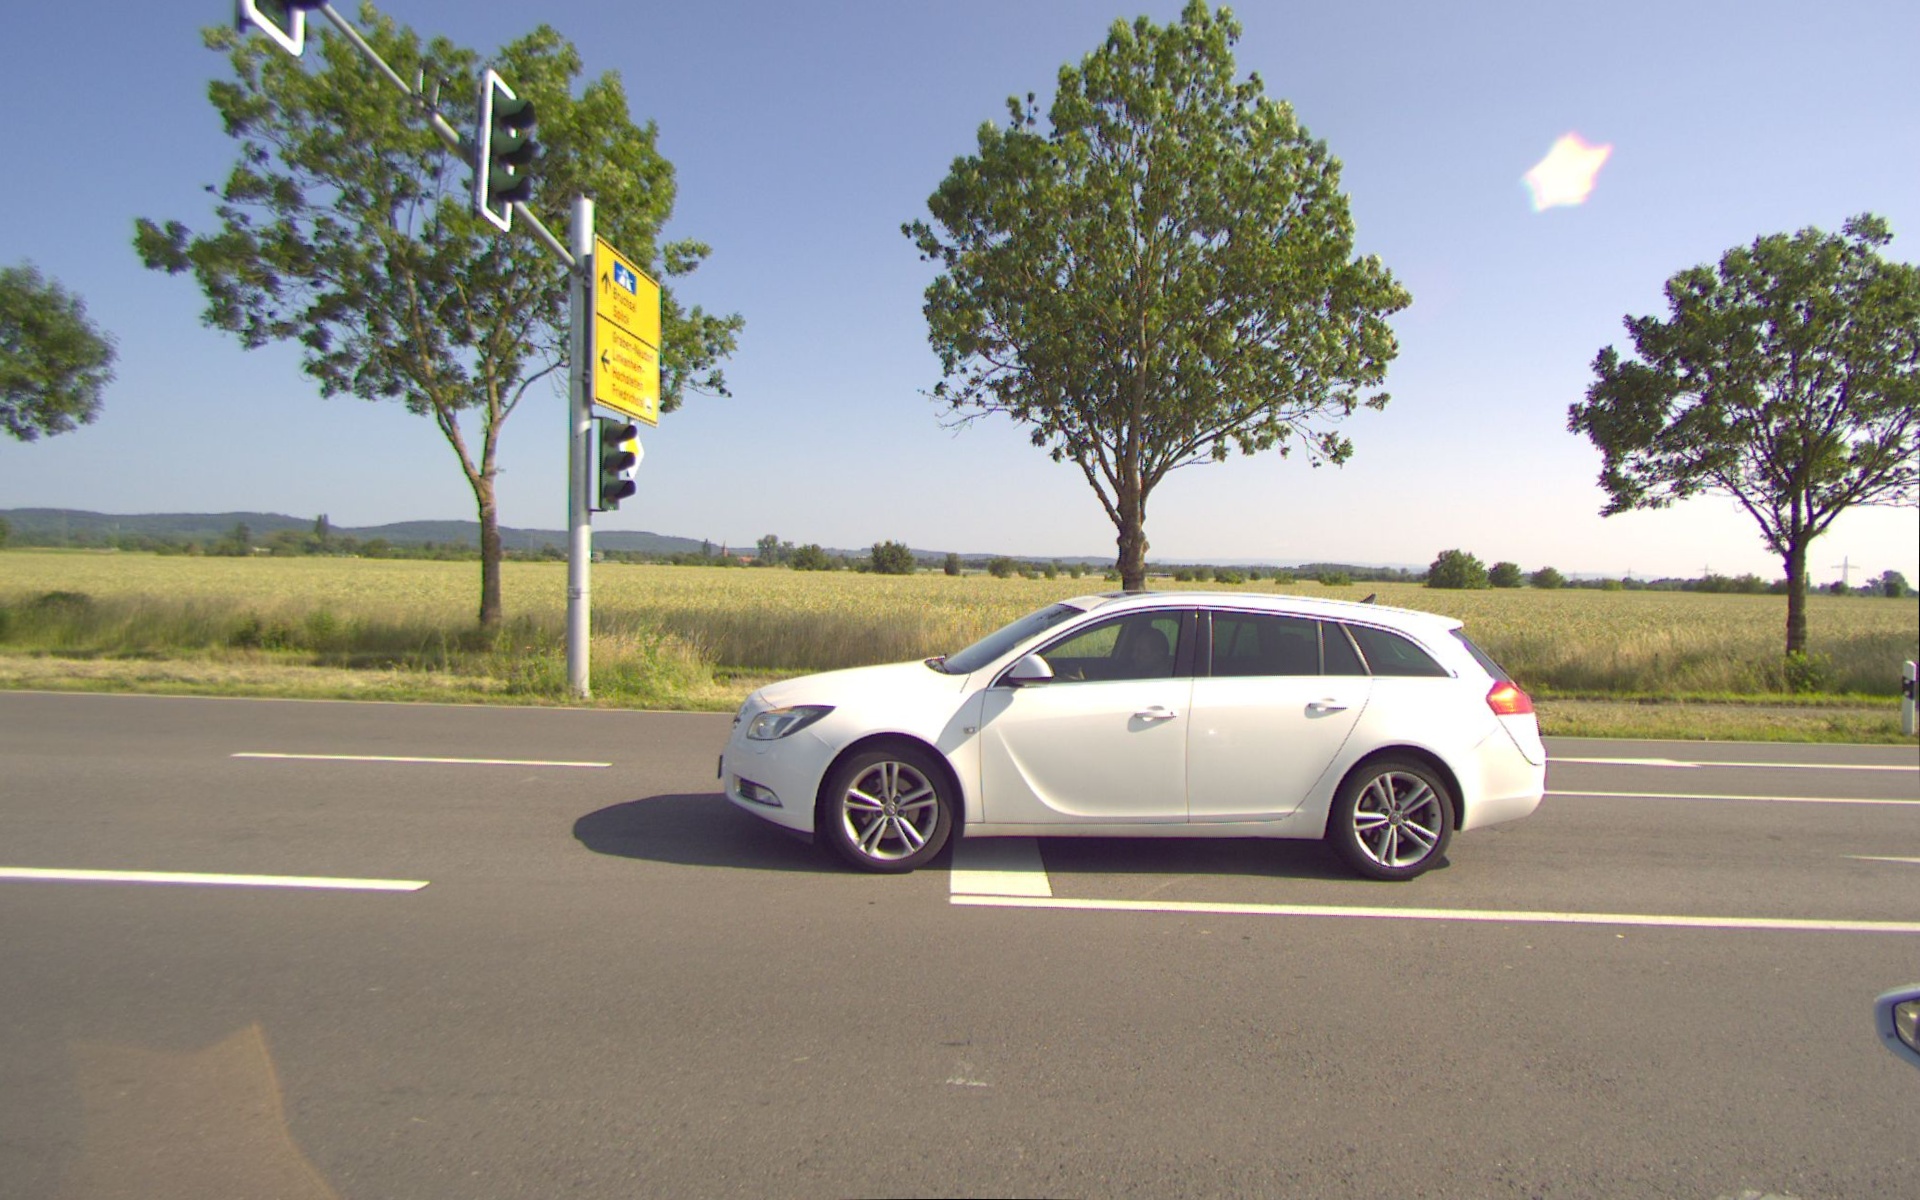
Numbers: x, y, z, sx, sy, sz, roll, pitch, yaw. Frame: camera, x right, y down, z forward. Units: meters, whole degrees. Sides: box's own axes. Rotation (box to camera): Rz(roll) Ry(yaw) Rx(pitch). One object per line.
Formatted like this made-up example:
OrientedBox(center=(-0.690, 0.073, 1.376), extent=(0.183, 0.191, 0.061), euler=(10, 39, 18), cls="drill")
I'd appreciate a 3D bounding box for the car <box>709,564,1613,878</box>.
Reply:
OrientedBox(center=(1.034, 0.635, 5.945), extent=(4.619, 1.512, 1.763), euler=(2, 1, -5), cls="car")
